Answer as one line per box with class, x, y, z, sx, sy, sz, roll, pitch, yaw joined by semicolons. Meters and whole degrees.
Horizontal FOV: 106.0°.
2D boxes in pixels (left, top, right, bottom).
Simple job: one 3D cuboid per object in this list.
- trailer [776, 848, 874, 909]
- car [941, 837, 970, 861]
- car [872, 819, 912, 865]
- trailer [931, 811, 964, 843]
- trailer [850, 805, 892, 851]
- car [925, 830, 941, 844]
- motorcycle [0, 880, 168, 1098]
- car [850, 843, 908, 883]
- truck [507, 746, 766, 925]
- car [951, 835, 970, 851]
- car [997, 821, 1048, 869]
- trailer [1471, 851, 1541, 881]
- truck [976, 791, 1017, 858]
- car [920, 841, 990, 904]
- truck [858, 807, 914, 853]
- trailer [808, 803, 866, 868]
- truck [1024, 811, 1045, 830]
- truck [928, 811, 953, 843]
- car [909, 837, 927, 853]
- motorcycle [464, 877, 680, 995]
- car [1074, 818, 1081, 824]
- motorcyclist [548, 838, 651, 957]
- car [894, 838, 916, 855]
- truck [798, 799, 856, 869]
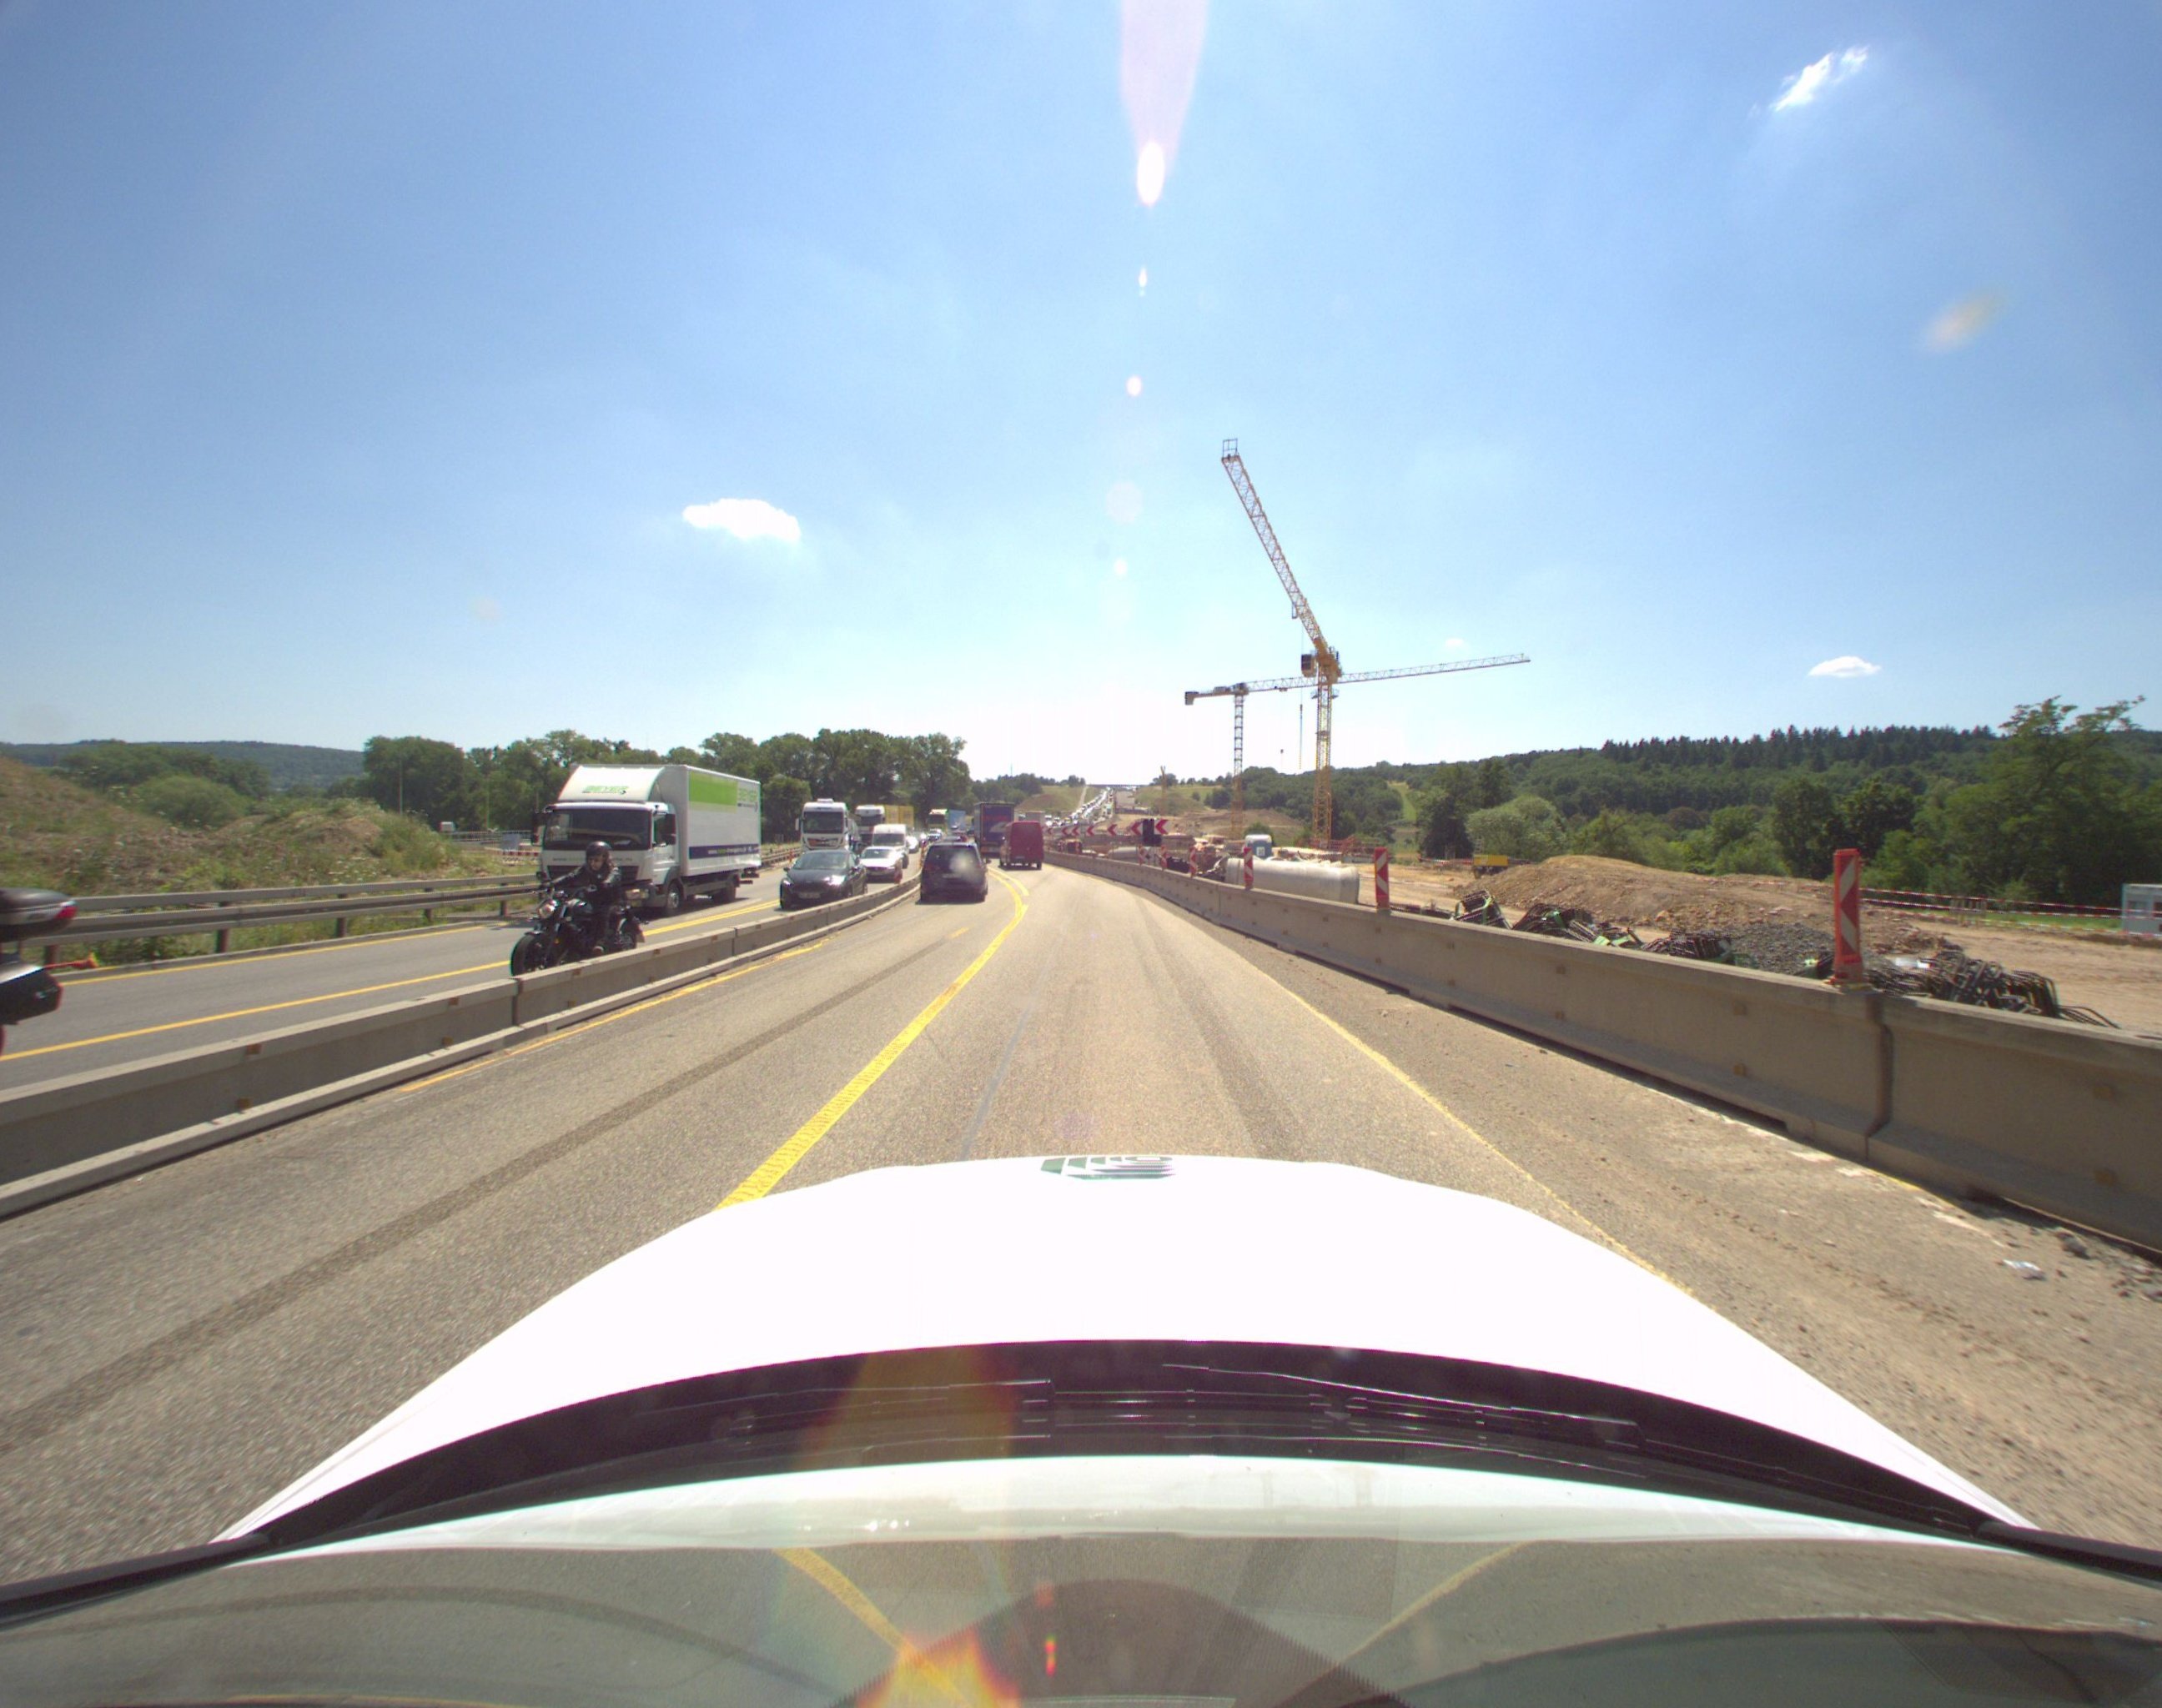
trailer;-6.621;0.587;21.466;1.662;1.431;3.992;0;0;-6
car;-8.837;-0.394;57.605;1.831;1.635;4.381;0;1;-6
car;-11.146;-0.659;48.413;2.072;2.503;6.459;0;0;-11
trailer;-19.580;-3.943;120.321;2.639;4.292;13.309;1;1;0
trailer;-19.615;-2.408;76.285;2.861;4.229;5.211;0;1;-5
car;-16.784;-1.964;92.558;1.636;1.485;3.989;0;3;-9
motorcycle;-6.792;0.811;4.338;0.700;1.279;2.736;0;0;2
car;-8.374;0.331;34.094;1.843;1.464;4.513;0;2;-7
truck;-10.562;-0.401;20.641;2.815;3.575;8.477;0;0;-7
car;-12.367;-1.142;83.642;1.832;1.635;4.096;0;1;-7
car;-3.447;-0.520;46.803;2.152;2.610;5.415;0;1;-13
trailer;22.346;0.612;42.964;1.619;1.486;3.824;1;0;-1
truck;-6.720;-2.327;64.299;2.943;4.944;6.723;0;2;-8
car;-3.575;0.455;23.738;1.731;1.635;4.382;0;1;-5
truck;-20.061;-2.529;84.941;2.800;4.341;15.363;0;2;-2
trailer;-15.696;-1.164;53.067;2.526;3.789;10.208;1;0;-11
truck;-8.536;-6.106;150.036;3.172;2.977;8.901;0;-1;1
truck;-19.545;-3.760;113.458;2.618;4.269;4.729;1;1;-2
car;-15.910;-0.890;79.532;1.677;1.361;4.486;0;2;-11
motorcycle;-5.904;0.874;9.747;0.830;1.150;2.790;0;0;0
car;-0.987;-9.479;232.714;1.612;1.699;3.892;1;2;1
motorcyclist;-5.932;0.526;10.073;0.808;1.416;0.742;0;-2;0
car;-14.599;-0.660;67.692;1.677;1.264;4.320;0;2;-11
truck;-14.589;-1.106;47.034;2.534;3.821;4.932;1;0;-11
